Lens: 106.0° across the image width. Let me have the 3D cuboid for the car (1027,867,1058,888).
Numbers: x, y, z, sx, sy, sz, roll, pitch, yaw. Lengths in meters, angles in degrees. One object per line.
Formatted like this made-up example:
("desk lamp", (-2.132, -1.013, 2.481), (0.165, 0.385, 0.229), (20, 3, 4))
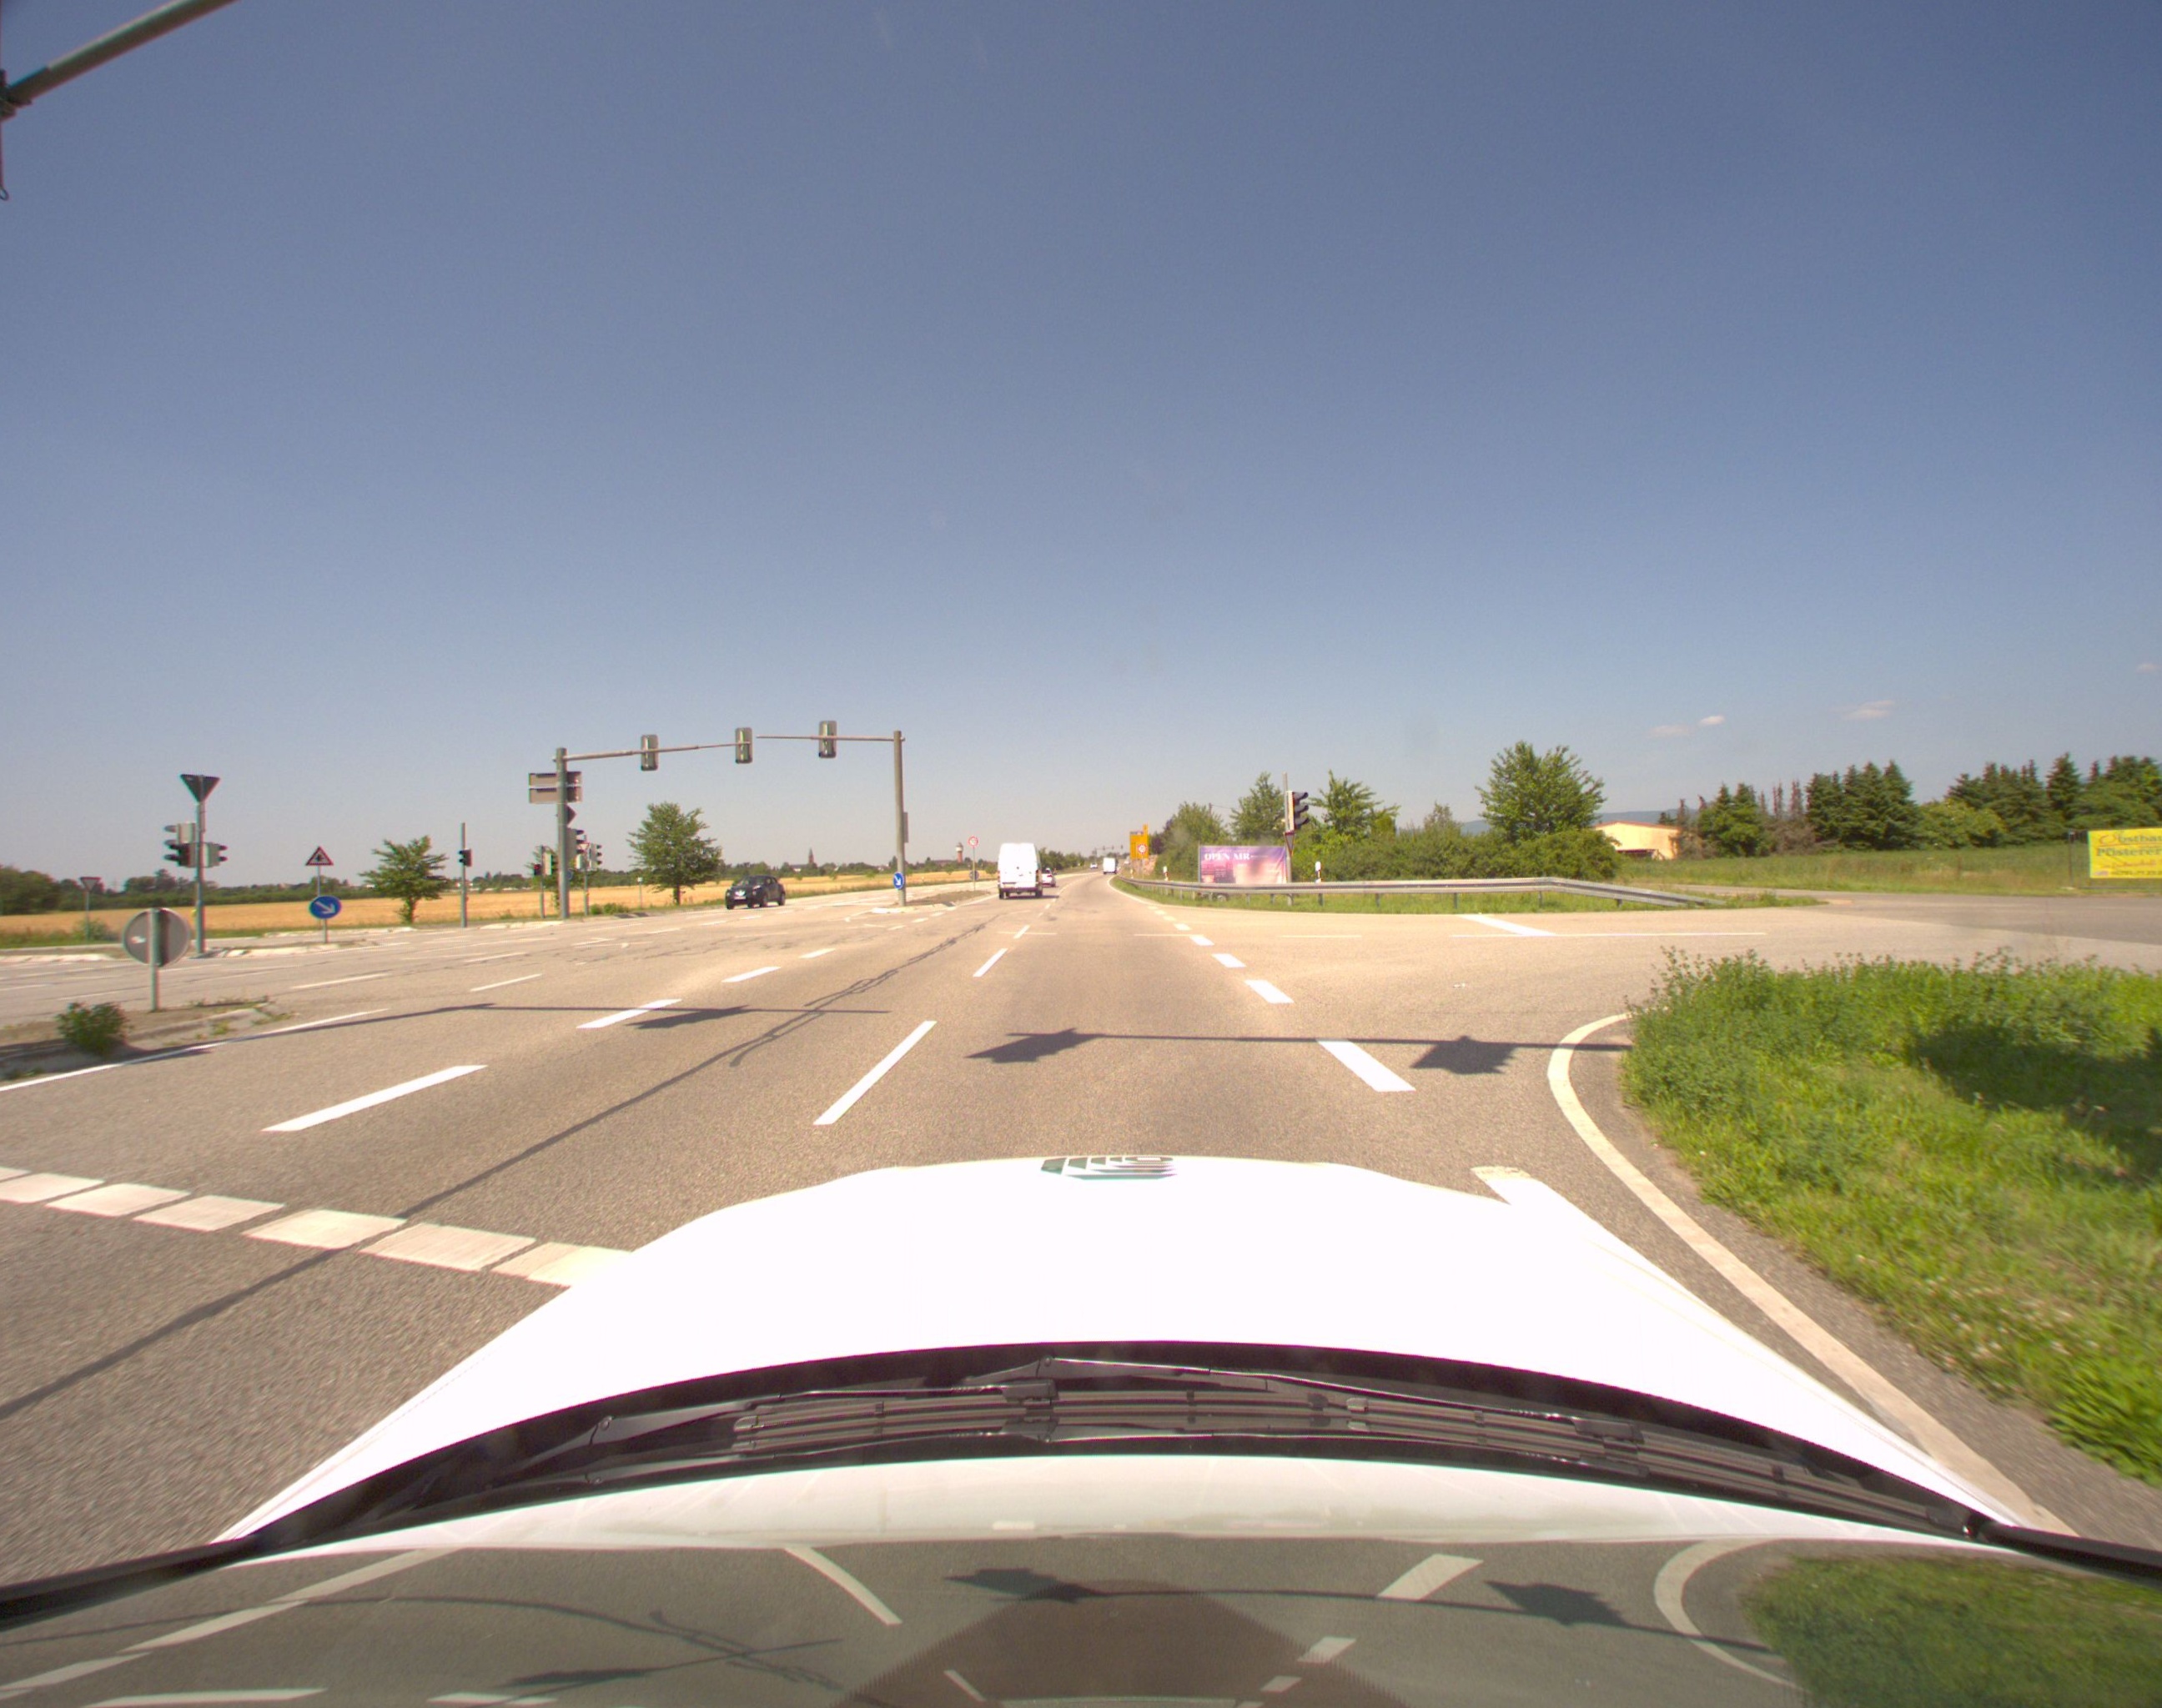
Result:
("car", (-2.917, 1.782, 63.167), (1.791, 1.508, 4.202), (-2, -1, 5))

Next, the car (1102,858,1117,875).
("car", (4.597, 2.008, 130.428), (1.984, 2.695, 4.976), (-1, -2, 5))

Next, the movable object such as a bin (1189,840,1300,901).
("movable object such as a bin", (6.412, 0.655, 32.088), (4.084, 2.331, 1.276), (0, -2, -3))

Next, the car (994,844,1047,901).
("car", (-2.947, 0.902, 40.793), (2.032, 2.620, 5.741), (-2, -1, 1))

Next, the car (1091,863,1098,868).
("car", (3.974, 3.376, 235.788), (1.741, 1.442, 4.087), (-2, -1, 5))

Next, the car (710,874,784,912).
("car", (-15.647, 1.772, 38.414), (1.826, 1.600, 4.301), (-3, -1, -2))
